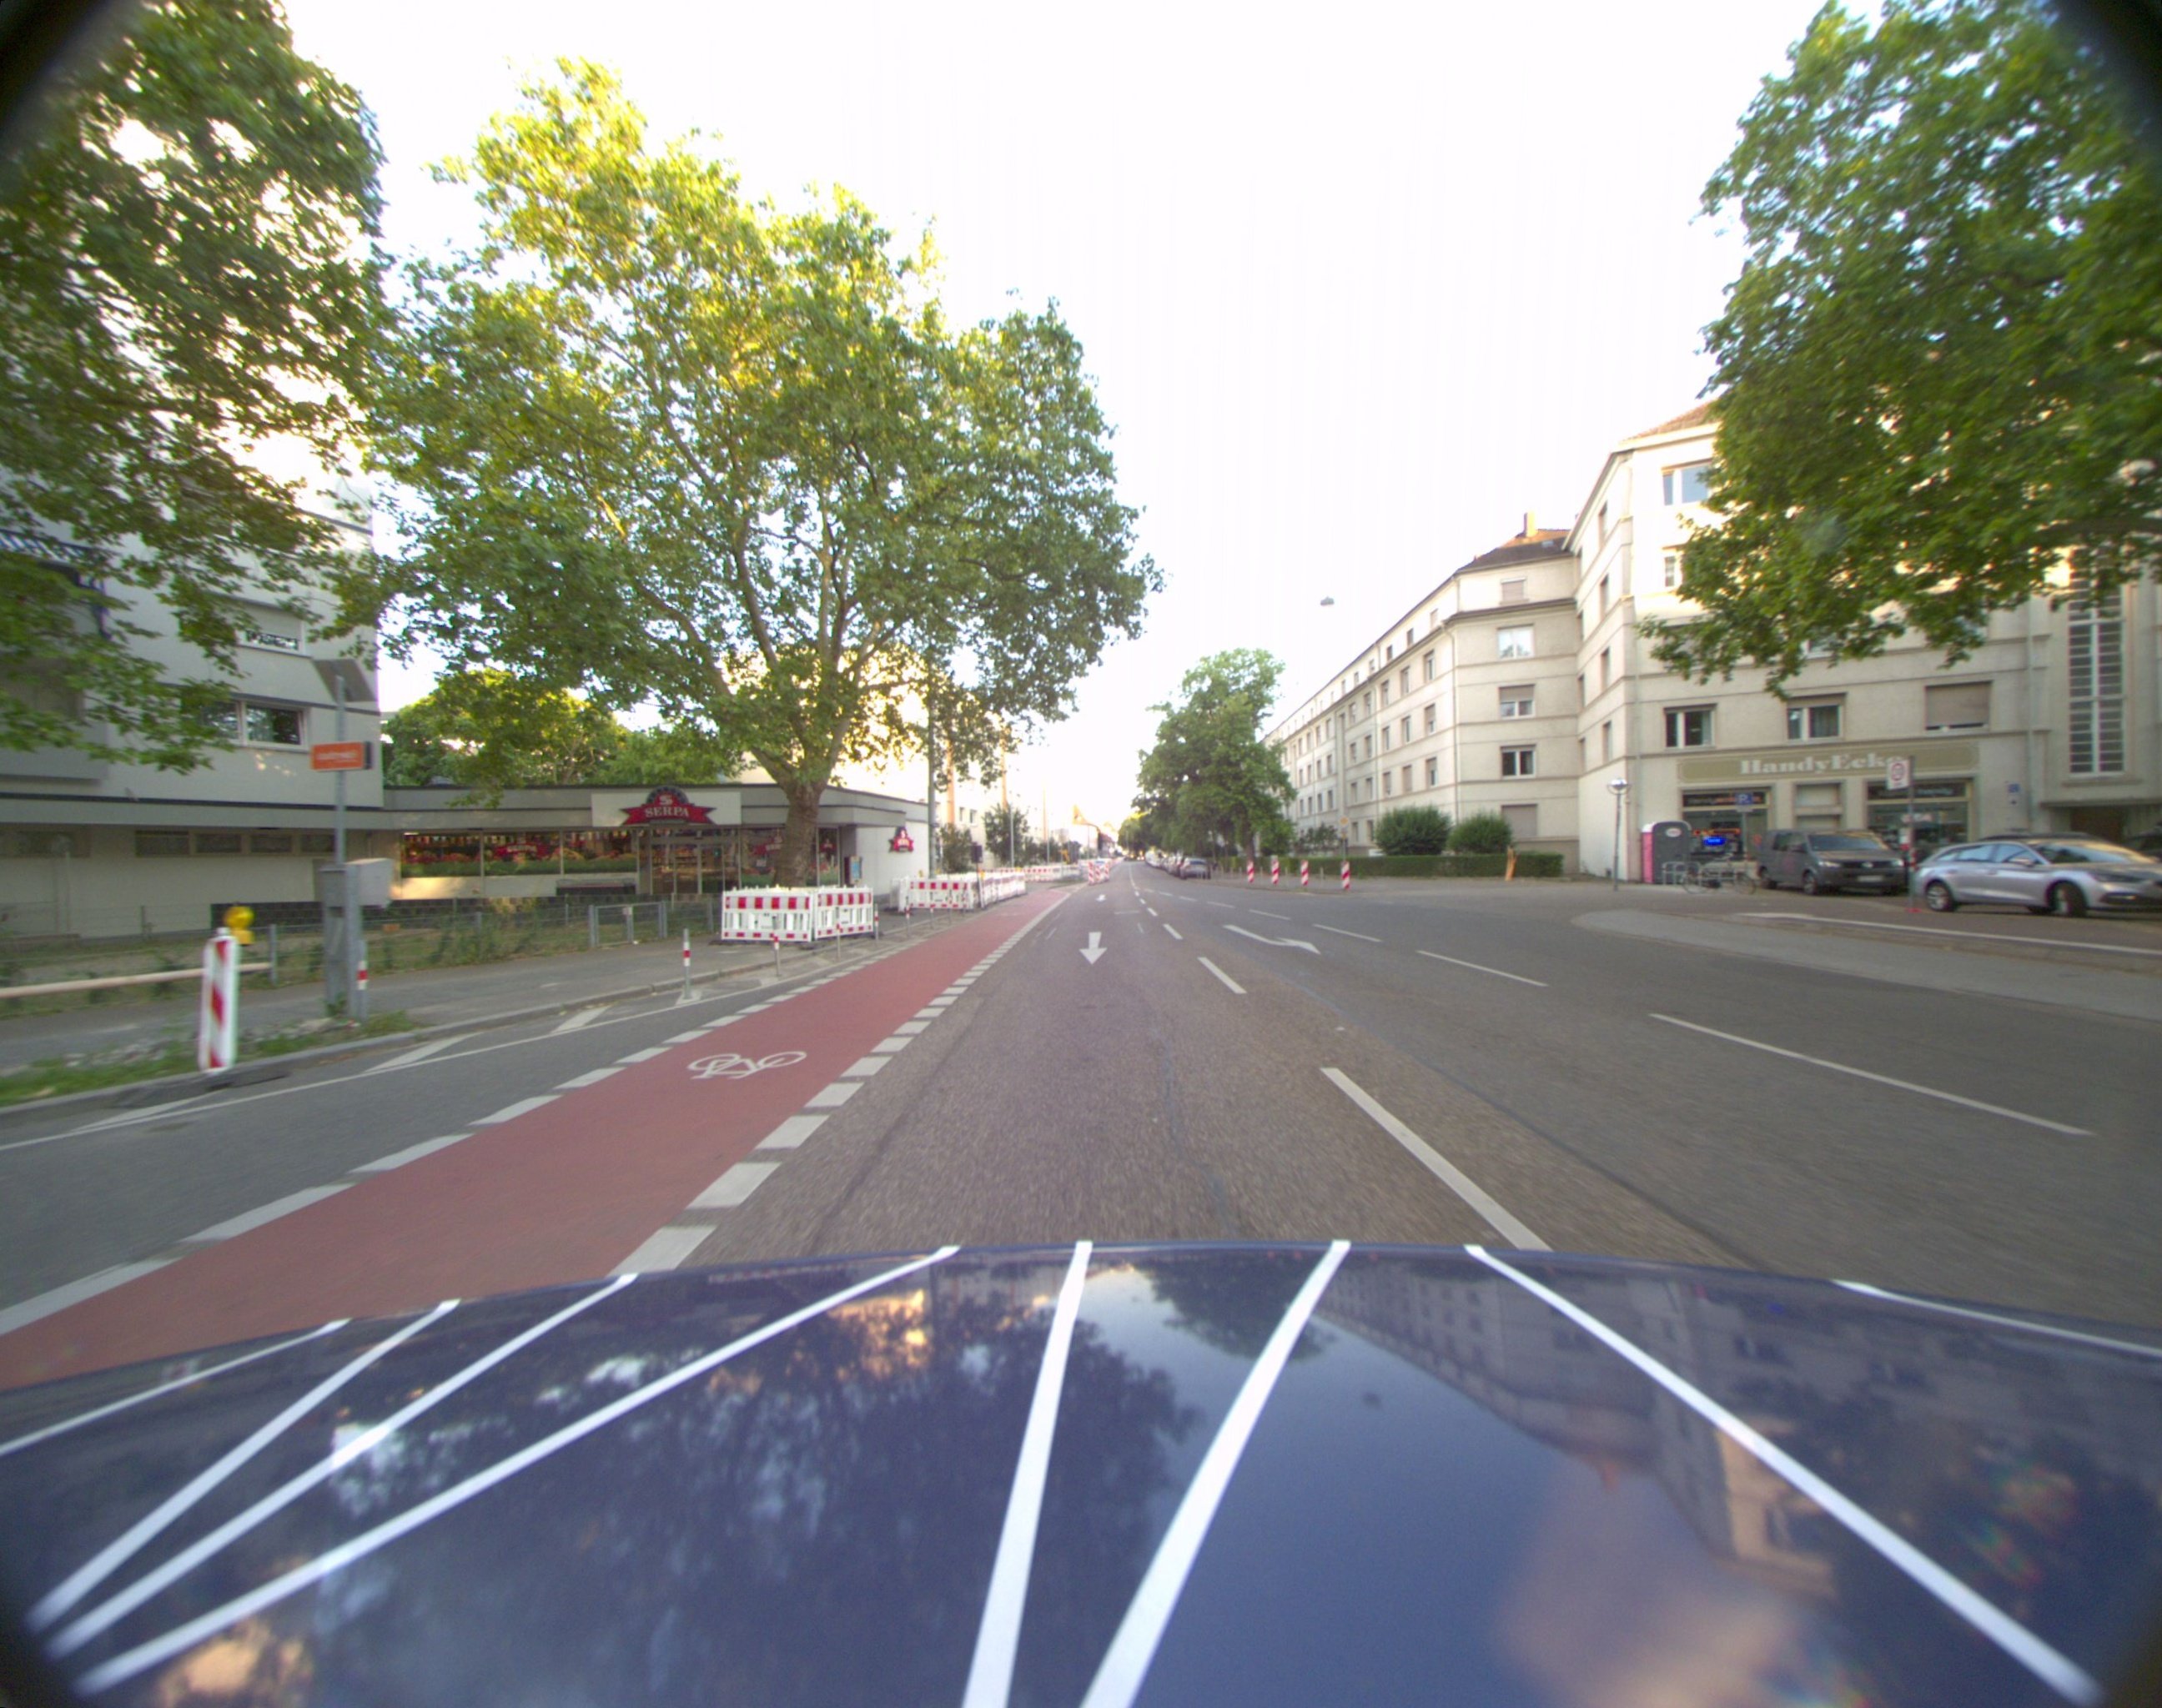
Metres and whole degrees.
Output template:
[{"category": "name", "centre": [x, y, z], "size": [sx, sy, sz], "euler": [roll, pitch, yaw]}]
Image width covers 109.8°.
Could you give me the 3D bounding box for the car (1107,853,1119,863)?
[{"category": "car", "centre": [6.020, 0.764, 140.915], "size": [1.892, 1.591, 4.260], "euler": [-2, 1, 6]}]

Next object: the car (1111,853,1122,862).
[{"category": "car", "centre": [7.316, 0.671, 155.768], "size": [1.892, 1.591, 4.260], "euler": [-2, 1, 6]}]

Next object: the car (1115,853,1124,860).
[{"category": "car", "centre": [9.979, 0.655, 196.021], "size": [1.892, 1.591, 4.260], "euler": [-2, 1, 6]}]

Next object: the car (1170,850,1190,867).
[{"category": "car", "centre": [10.483, 0.485, 80.448], "size": [1.892, 1.591, 4.260], "euler": [-2, 1, 6]}]

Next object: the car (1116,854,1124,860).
[{"category": "car", "centre": [10.552, 0.764, 205.260], "size": [1.892, 1.591, 4.260], "euler": [-2, 1, 6]}]

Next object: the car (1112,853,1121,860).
[{"category": "car", "centre": [8.689, 0.508, 184.390], "size": [1.892, 1.591, 4.260], "euler": [-2, 1, 6]}]

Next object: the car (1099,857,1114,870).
[{"category": "car", "centre": [3.806, 1.391, 112.871], "size": [1.892, 1.726, 4.260], "euler": [-2, 1, 6]}]

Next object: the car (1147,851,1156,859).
[{"category": "car", "centre": [15.368, 0.192, 165.623], "size": [1.892, 1.591, 4.260], "euler": [-2, 1, 6]}]

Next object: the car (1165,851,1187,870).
[{"category": "car", "centre": [9.345, 0.627, 74.953], "size": [1.892, 1.764, 4.260], "euler": [-2, 1, 6]}]

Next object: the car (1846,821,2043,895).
[{"category": "car", "centre": [24.969, 0.015, 22.256], "size": [1.995, 1.945, 4.647], "euler": [0, 2, 24]}]

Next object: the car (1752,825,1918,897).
[{"category": "car", "centre": [22.616, 0.109, 23.080], "size": [1.995, 1.945, 4.647], "euler": [0, 2, 24]}]

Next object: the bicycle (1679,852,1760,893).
[{"category": "bicycle", "centre": [19.405, 0.564, 23.140], "size": [1.802, 1.199, 0.648], "euler": [-2, 1, 33]}]

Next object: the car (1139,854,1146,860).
[{"category": "car", "centre": [19.950, 0.875, 247.073], "size": [1.998, 1.838, 3.999], "euler": [-2, 1, 0]}]

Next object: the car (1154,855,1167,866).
[{"category": "car", "centre": [12.234, 0.948, 117.415], "size": [1.892, 1.591, 4.260], "euler": [-2, 1, 6]}]

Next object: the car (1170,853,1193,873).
[{"category": "car", "centre": [9.067, 0.812, 69.006], "size": [1.892, 1.591, 4.260], "euler": [-2, 1, 6]}]

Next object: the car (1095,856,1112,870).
[{"category": "car", "centre": [2.981, 1.163, 100.585], "size": [1.892, 1.591, 4.260], "euler": [-2, 1, 6]}]

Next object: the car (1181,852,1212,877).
[{"category": "car", "centre": [8.133, 0.717, 53.752], "size": [1.892, 1.591, 4.001], "euler": [-2, 1, 6]}]

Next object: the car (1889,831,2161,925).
[{"category": "car", "centre": [18.126, 0.426, 14.202], "size": [1.996, 1.494, 4.647], "euler": [0, -1, 15]}]

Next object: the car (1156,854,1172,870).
[{"category": "car", "centre": [10.792, 1.030, 98.778], "size": [1.892, 1.815, 4.260], "euler": [-2, 1, 6]}]

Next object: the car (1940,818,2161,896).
[{"category": "car", "centre": [27.120, -0.011, 21.437], "size": [1.995, 1.945, 4.647], "euler": [0, 2, 24]}]

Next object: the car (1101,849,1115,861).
[{"category": "car", "centre": [4.302, 0.151, 121.389], "size": [1.892, 1.651, 4.260], "euler": [-2, 1, 6]}]

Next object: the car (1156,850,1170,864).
[{"category": "car", "centre": [11.641, 0.461, 107.738], "size": [1.892, 1.855, 4.260], "euler": [-2, 1, 6]}]

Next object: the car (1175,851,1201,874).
[{"category": "car", "centre": [8.651, 0.666, 61.708], "size": [1.892, 1.681, 4.260], "euler": [-2, 1, 6]}]

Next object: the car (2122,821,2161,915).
[{"category": "car", "centre": [20.709, 0.237, 12.518], "size": [1.995, 1.771, 4.649], "euler": [0, -1, 21]}]

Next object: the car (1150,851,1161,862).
[{"category": "car", "centre": [14.019, 0.383, 143.127], "size": [1.892, 1.868, 4.947], "euler": [-2, 1, 6]}]

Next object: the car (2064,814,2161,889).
[{"category": "car", "centre": [29.616, -0.097, 20.346], "size": [1.995, 1.945, 4.647], "euler": [0, 2, 24]}]
